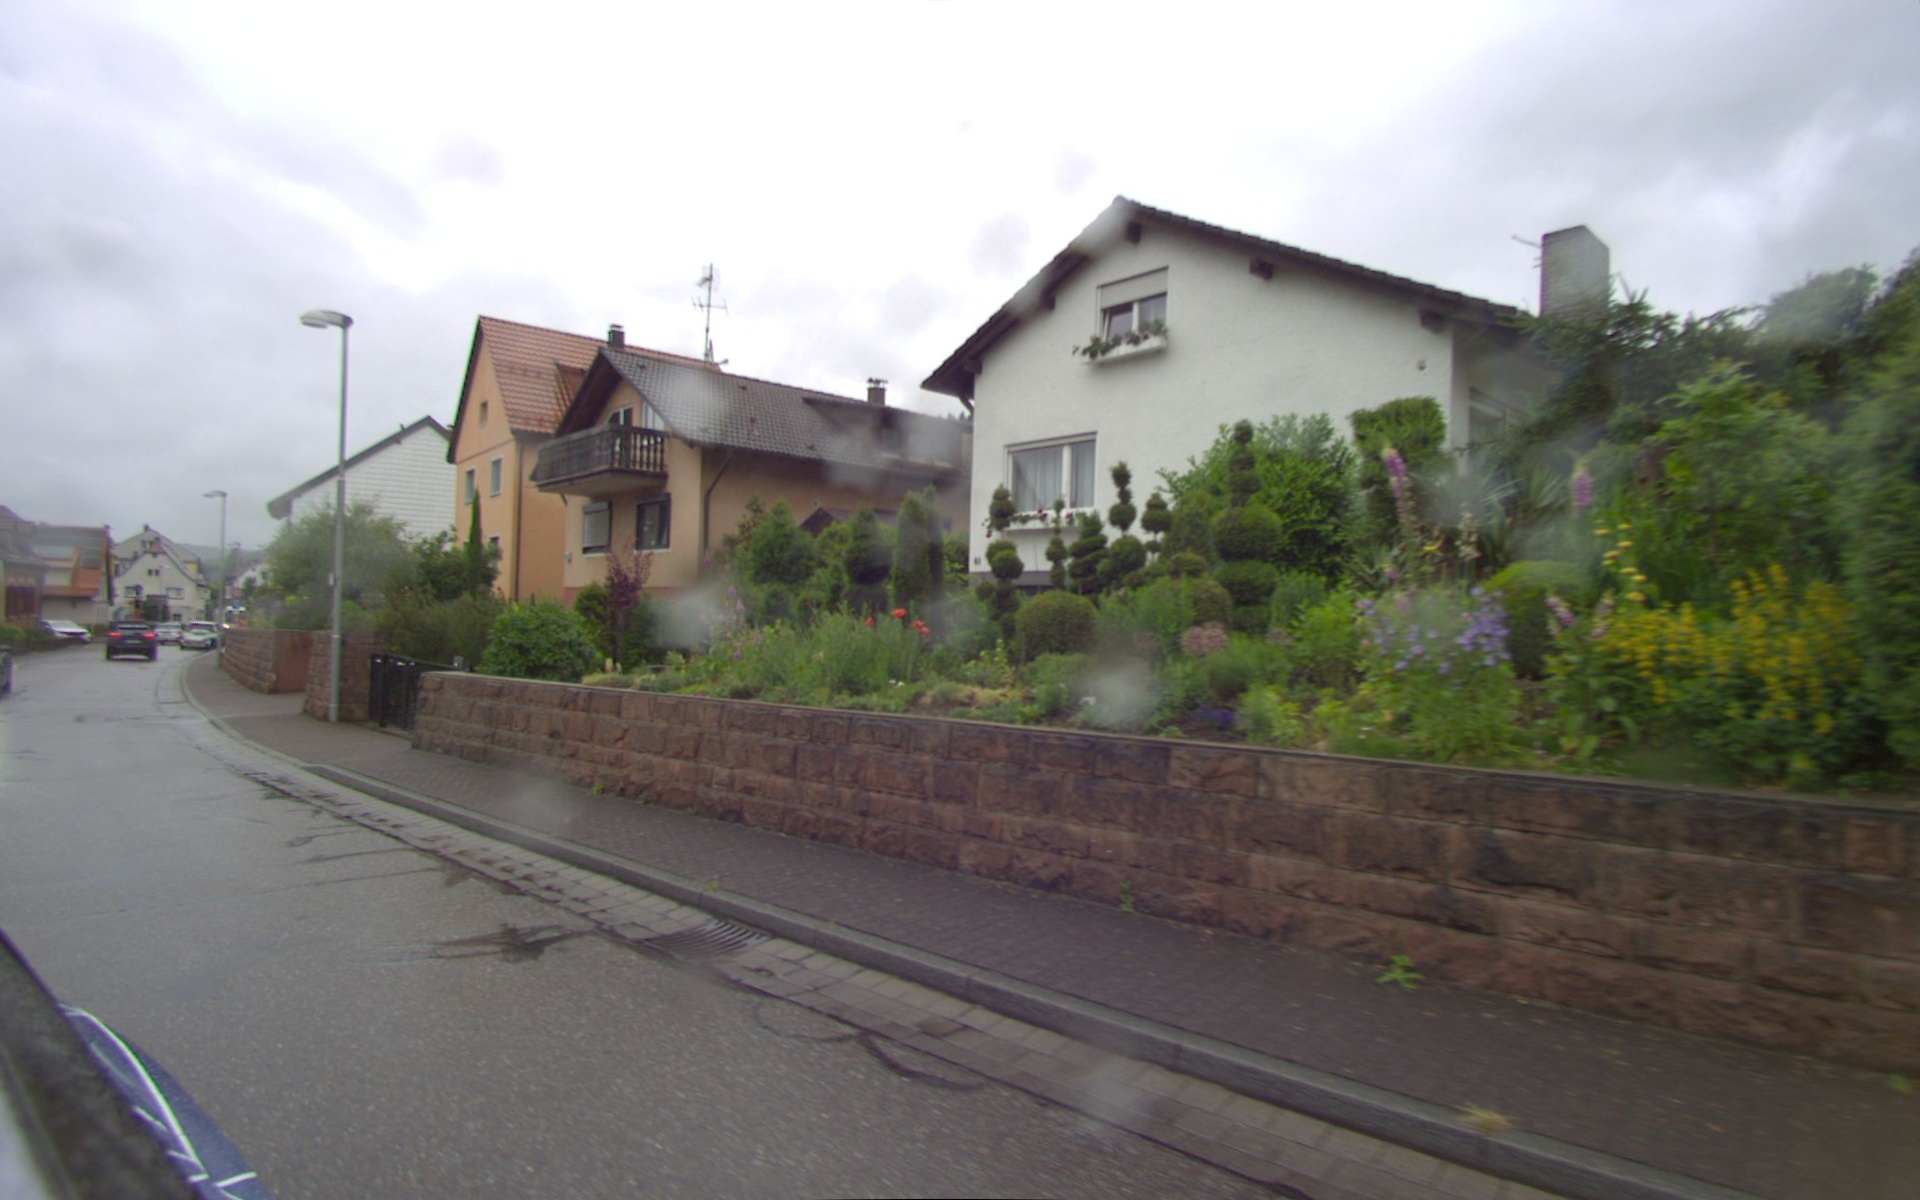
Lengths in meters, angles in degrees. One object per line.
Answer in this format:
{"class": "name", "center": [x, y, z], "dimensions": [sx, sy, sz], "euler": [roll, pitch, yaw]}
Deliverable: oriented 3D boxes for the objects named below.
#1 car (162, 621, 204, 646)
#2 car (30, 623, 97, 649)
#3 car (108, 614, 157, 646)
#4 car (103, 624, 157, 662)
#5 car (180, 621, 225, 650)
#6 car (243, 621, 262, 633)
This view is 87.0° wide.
{"class": "car", "center": [-53.870, 2.322, 70.236], "dimensions": [1.786, 1.608, 4.196], "euler": [3, -2, -31]}
{"class": "car", "center": [-57.187, 2.257, 64.558], "dimensions": [3.871, 1.587, 1.874], "euler": [-1, 0, 27]}
{"class": "car", "center": [-46.836, 1.689, 57.330], "dimensions": [1.810, 1.686, 5.209], "euler": [3, -2, -36]}
{"class": "car", "center": [-37.181, 1.911, 45.409], "dimensions": [1.678, 1.558, 3.858], "euler": [5, -4, -38]}
{"class": "car", "center": [-48.290, 2.228, 64.587], "dimensions": [1.786, 1.697, 4.196], "euler": [3, -2, -31]}
{"class": "car", "center": [-96.972, 3.717, 138.690], "dimensions": [1.830, 1.517, 4.173], "euler": [3, -2, -32]}
